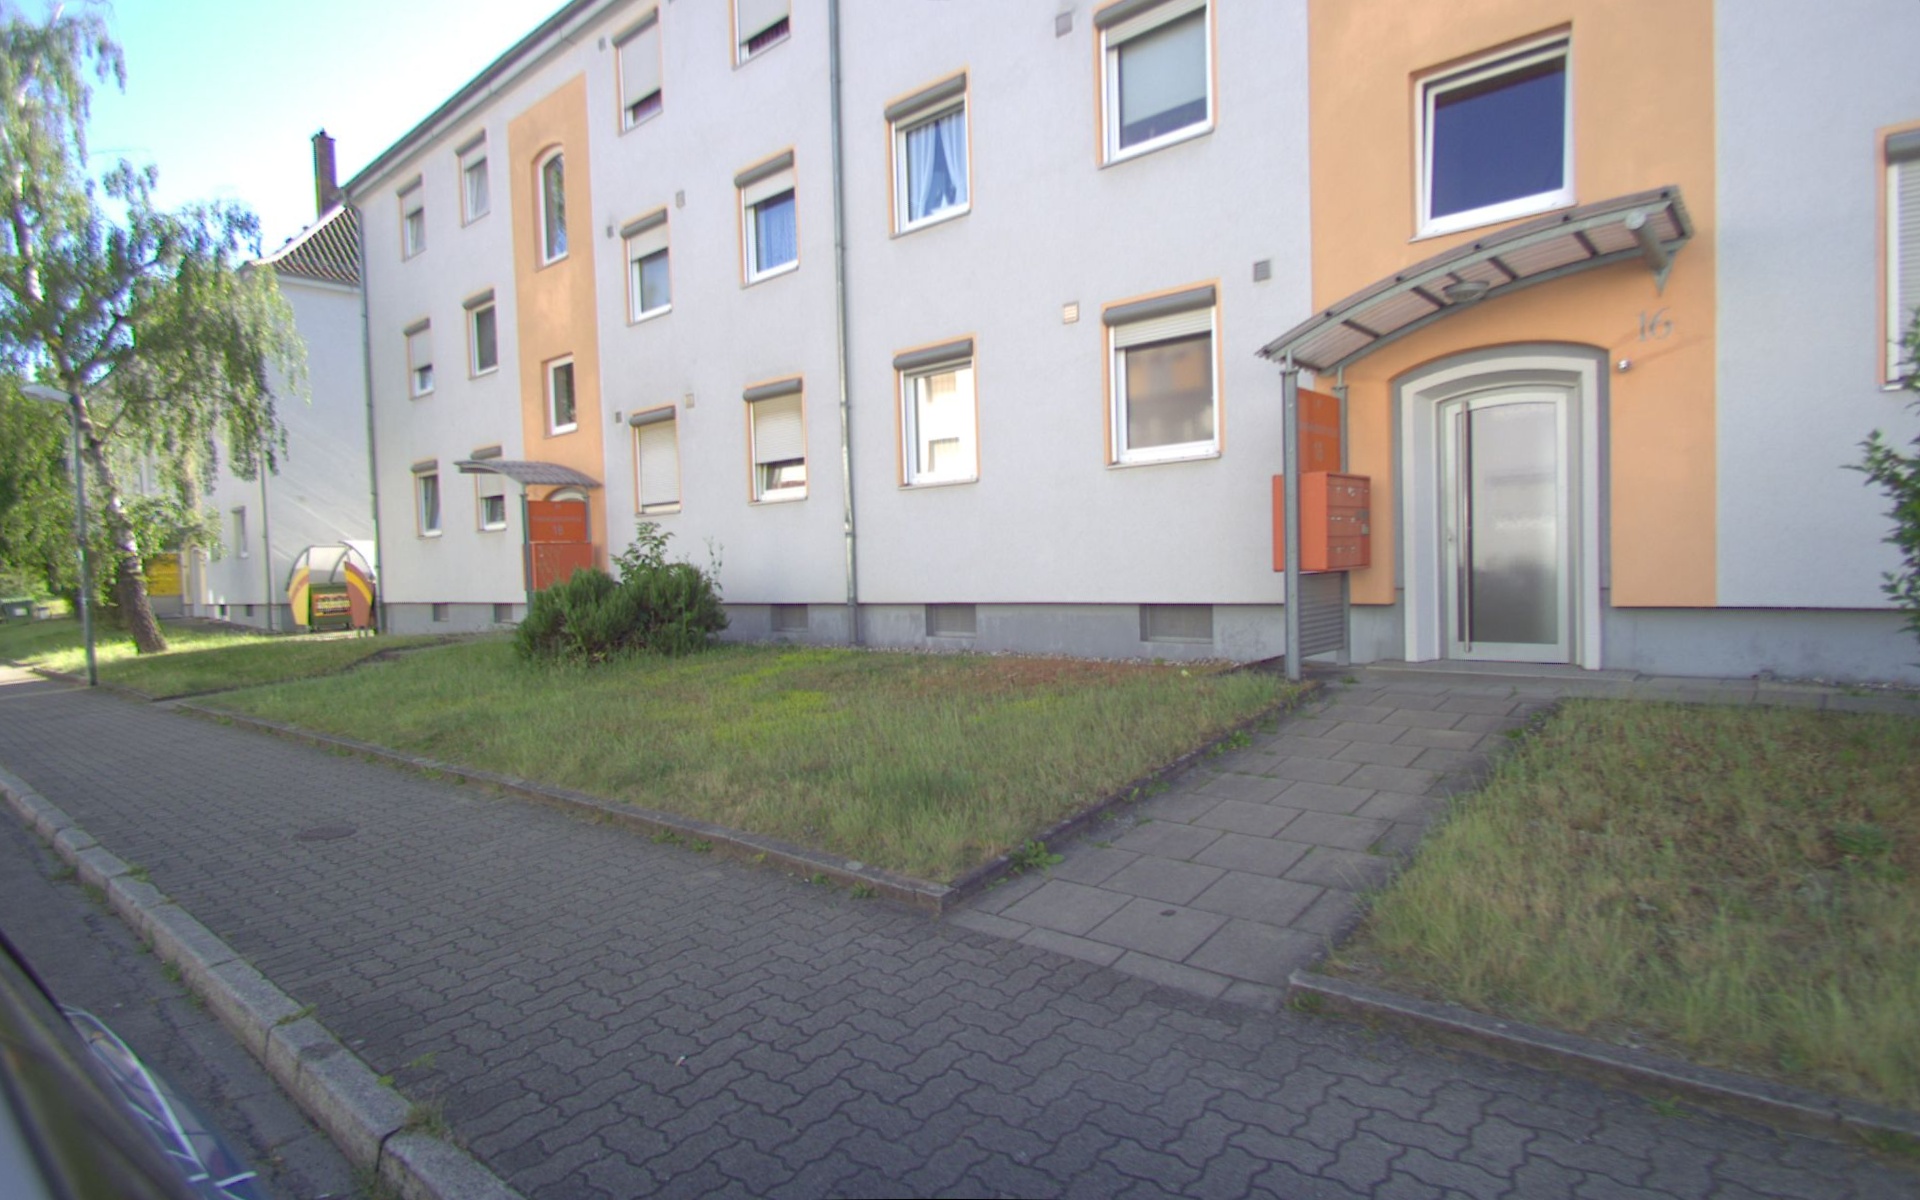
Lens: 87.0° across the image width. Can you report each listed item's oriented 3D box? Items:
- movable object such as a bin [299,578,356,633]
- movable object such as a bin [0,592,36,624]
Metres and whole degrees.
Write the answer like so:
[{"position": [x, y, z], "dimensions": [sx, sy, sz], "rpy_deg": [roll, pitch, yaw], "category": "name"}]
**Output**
[{"position": [-17.198, 0.132, 27.524], "dimensions": [0.812, 1.416, 1.073], "rpy_deg": [-1, 3, 42], "category": "movable object such as a bin"}, {"position": [-47.338, 0.399, 50.661], "dimensions": [1.072, 1.463, 1.347], "rpy_deg": [0, 6, 41], "category": "movable object such as a bin"}]
